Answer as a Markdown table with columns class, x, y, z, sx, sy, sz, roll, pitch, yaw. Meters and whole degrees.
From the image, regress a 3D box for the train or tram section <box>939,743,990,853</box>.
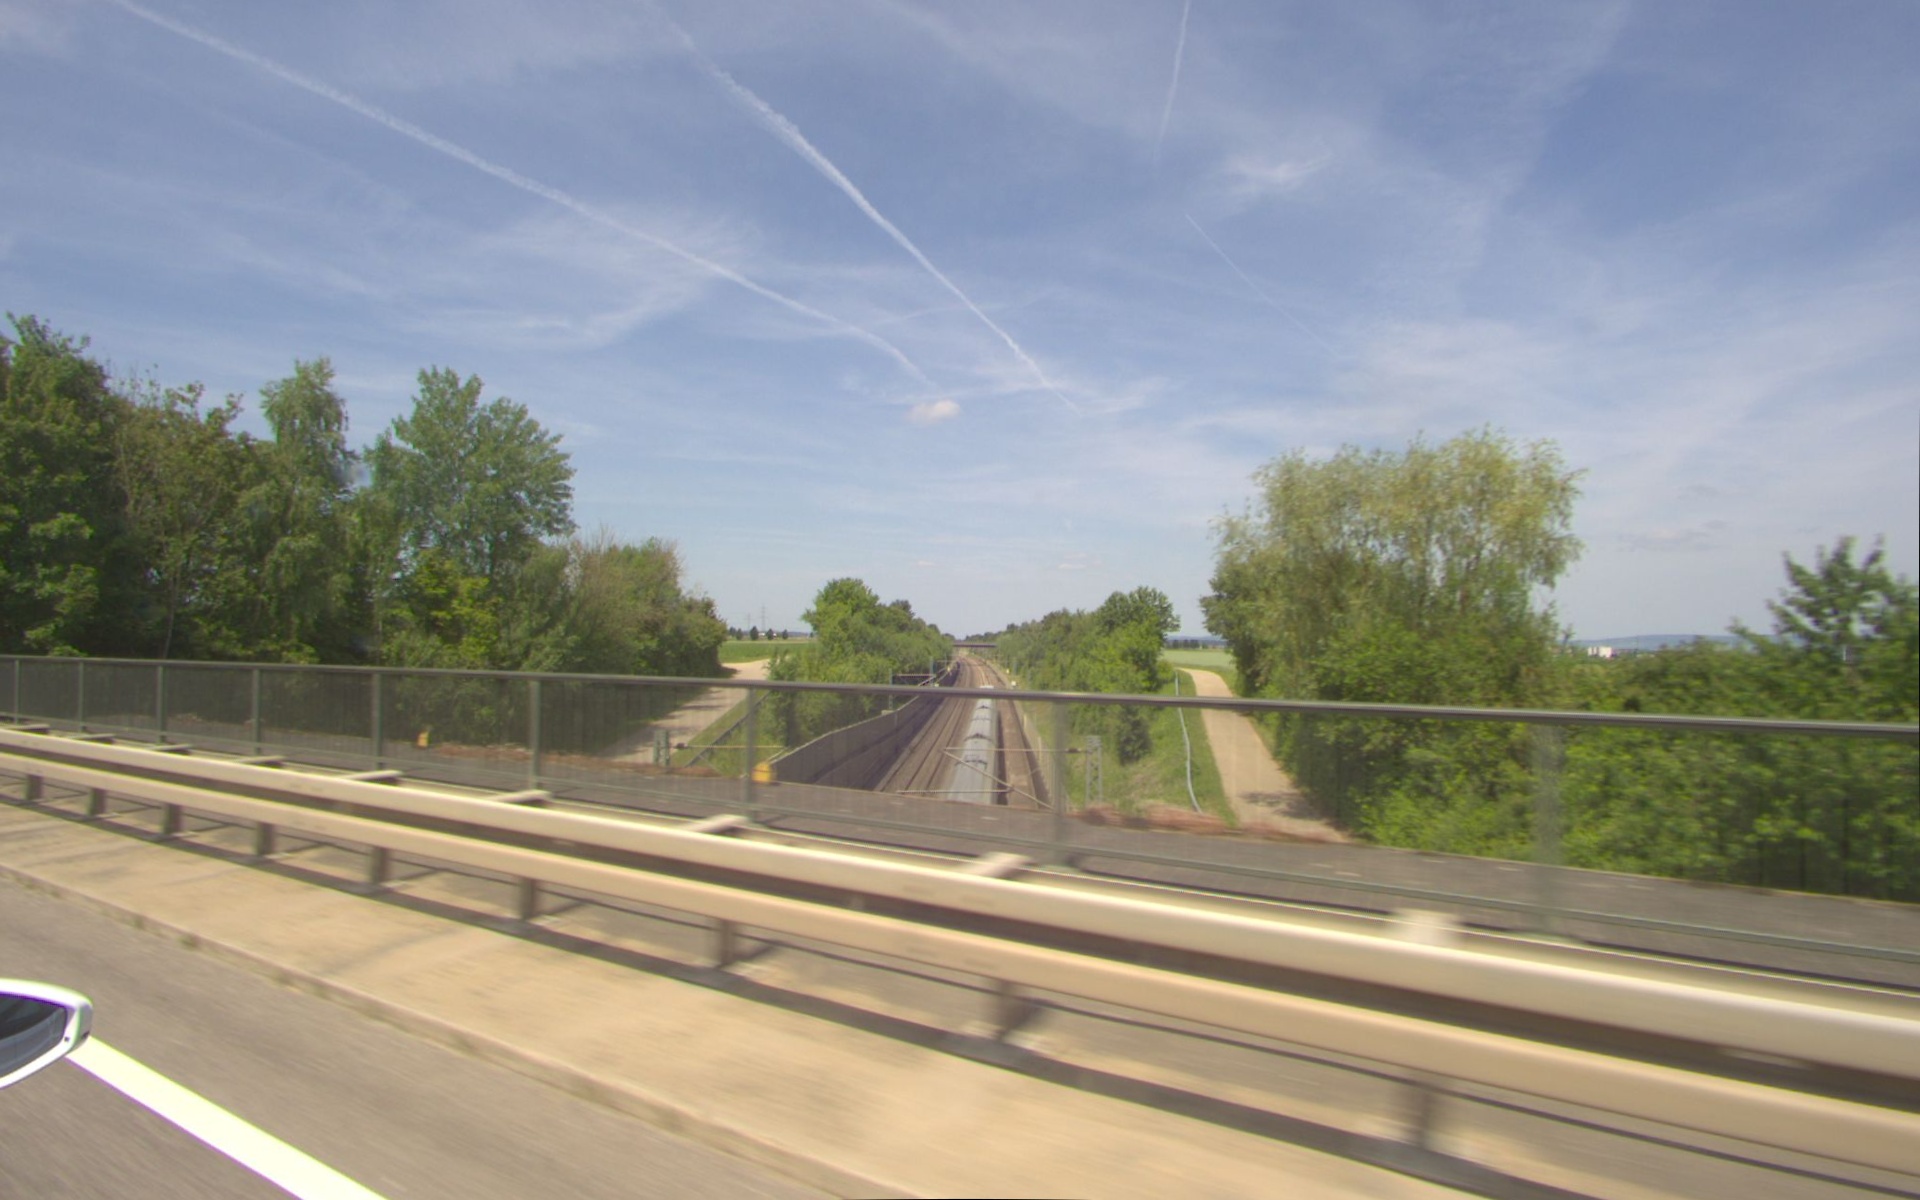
| class | x | y | z | sx | sy | sz | roll | pitch | yaw |
| --- | --- | --- | --- | --- | --- | --- | --- | --- | --- |
| train or tram section | 0.114 | 10.749 | 56.091 | 2.504 | 4.283 | 12.459 | 1 | -3 | -1 |

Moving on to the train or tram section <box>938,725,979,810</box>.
| class | x | y | z | sx | sy | sz | roll | pitch | yaw |
| --- | --- | --- | --- | --- | --- | --- | --- | --- | --- |
| train or tram section | -0.207 | 11.233 | 68.628 | 2.504 | 4.283 | 12.459 | 1 | -3 | -1 |

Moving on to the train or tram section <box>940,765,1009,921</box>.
| class | x | y | z | sx | sy | sz | roll | pitch | yaw |
| --- | --- | --- | --- | --- | --- | --- | --- | --- | --- |
| train or tram section | 0.409 | 10.098 | 43.620 | 2.504 | 4.283 | 12.459 | 1 | -3 | -1 |
